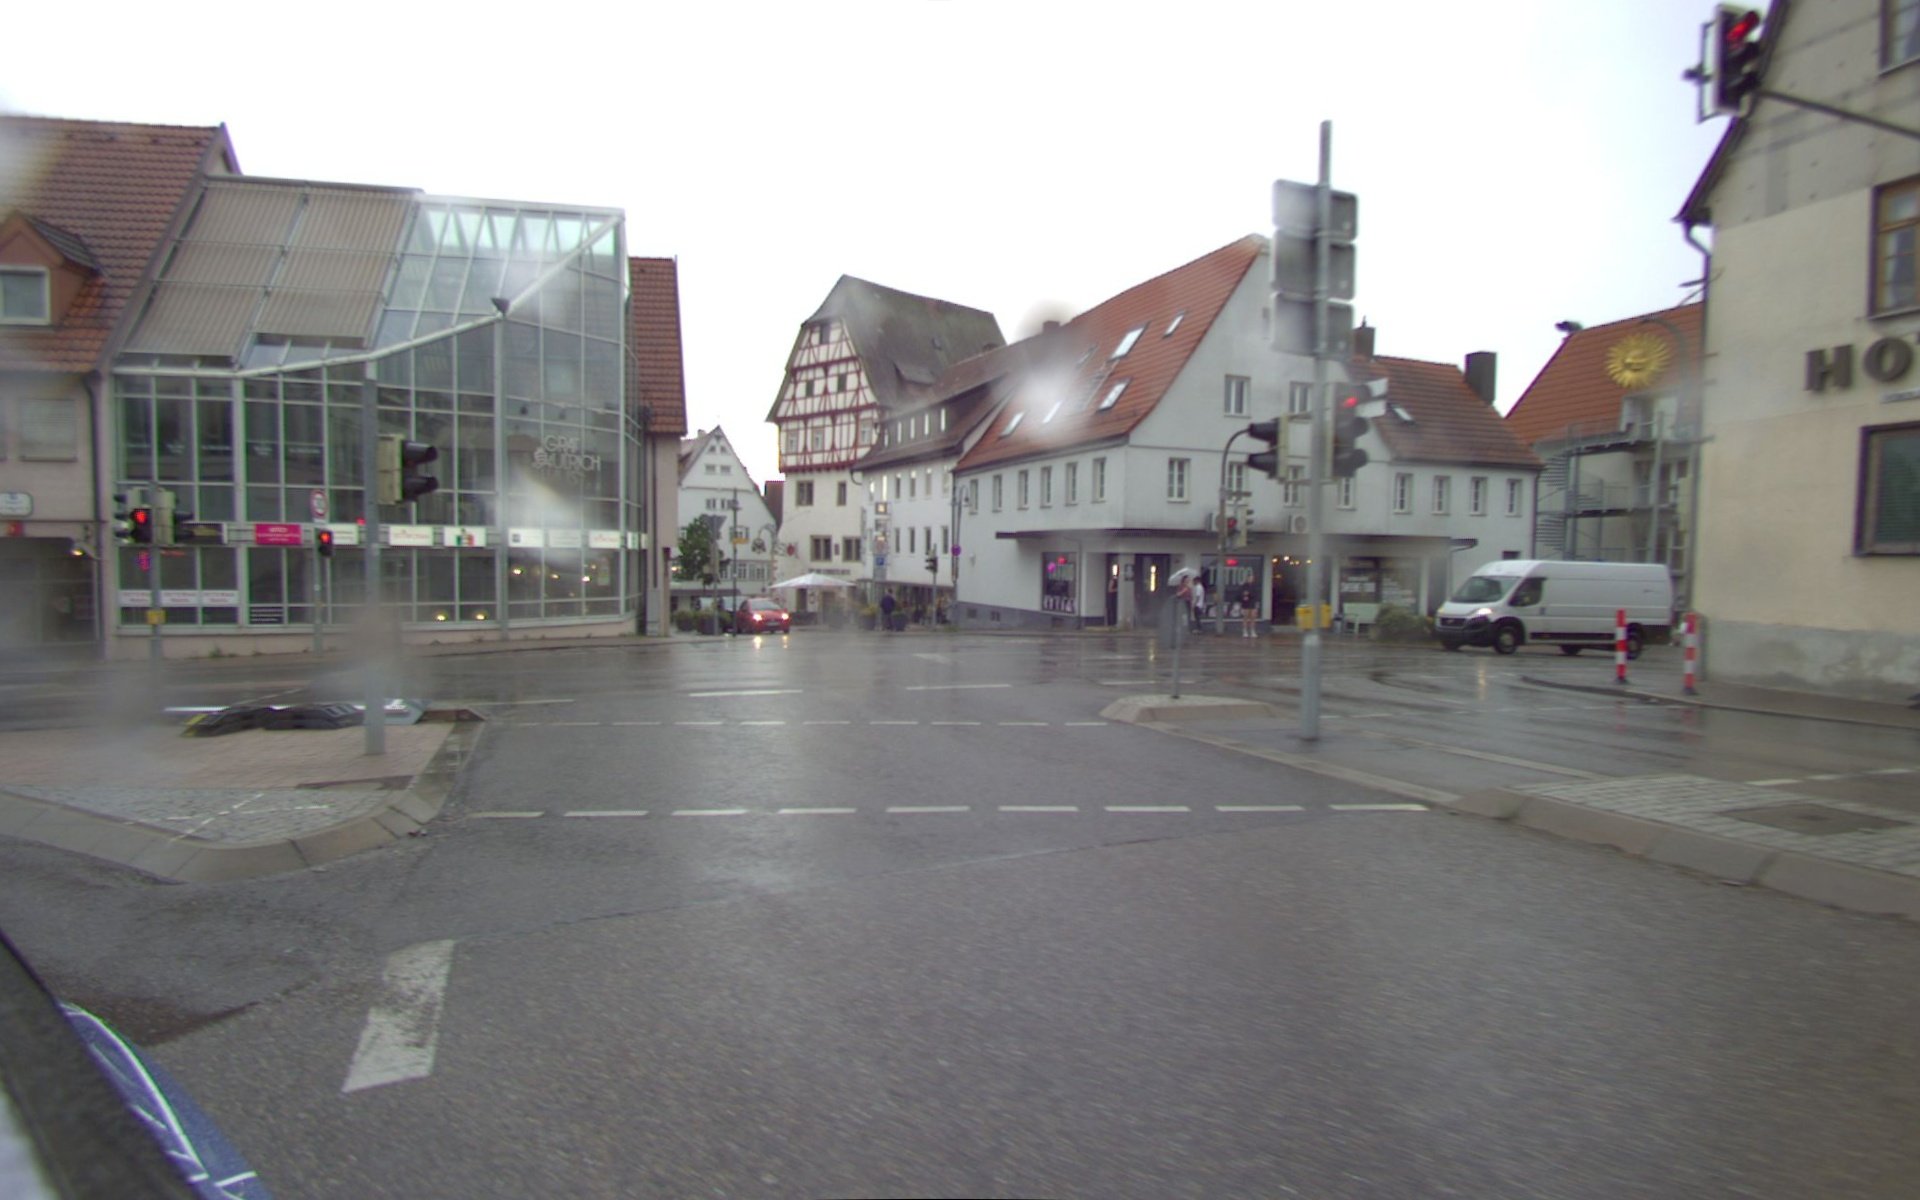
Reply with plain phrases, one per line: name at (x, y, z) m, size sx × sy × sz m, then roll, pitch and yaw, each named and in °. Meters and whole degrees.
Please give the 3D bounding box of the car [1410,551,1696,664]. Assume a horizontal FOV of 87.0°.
car at (15.633, 0.159, 26.806) m, size 6.448 × 2.646 × 2.603 m, roll -2°, pitch 0°, yaw -13°

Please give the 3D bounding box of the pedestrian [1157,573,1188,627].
pedestrian at (6.299, 0.005, 29.990) m, size 0.623 × 1.571 × 0.596 m, roll -2°, pitch 1°, yaw -22°

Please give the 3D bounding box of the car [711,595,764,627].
car at (-10.126, 0.478, 45.960) m, size 1.715 × 1.298 × 3.243 m, roll -3°, pitch 1°, yaw -24°

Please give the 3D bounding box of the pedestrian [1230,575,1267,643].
pedestrian at (8.230, 0.257, 28.920) m, size 0.735 × 1.881 × 0.607 m, roll -2°, pitch 1°, yaw -21°

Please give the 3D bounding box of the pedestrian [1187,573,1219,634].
pedestrian at (7.224, 0.099, 30.090) m, size 0.623 × 1.787 × 0.596 m, roll -2°, pitch 1°, yaw -22°

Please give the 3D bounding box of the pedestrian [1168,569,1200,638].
pedestrian at (6.309, 0.087, 28.485) m, size 0.623 × 1.885 × 0.538 m, roll -2°, pitch 1°, yaw -21°

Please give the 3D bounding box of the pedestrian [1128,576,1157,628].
pedestrian at (5.695, 0.054, 31.645) m, size 0.623 × 1.571 × 0.596 m, roll -2°, pitch 1°, yaw -22°

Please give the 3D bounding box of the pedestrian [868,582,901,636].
pedestrian at (-2.816, 0.318, 37.975) m, size 0.975 × 1.952 × 0.781 m, roll -2°, pitch 1°, yaw 14°

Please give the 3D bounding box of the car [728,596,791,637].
car at (-8.167, 0.626, 41.016) m, size 1.715 × 1.518 × 3.695 m, roll -3°, pitch 1°, yaw -24°
